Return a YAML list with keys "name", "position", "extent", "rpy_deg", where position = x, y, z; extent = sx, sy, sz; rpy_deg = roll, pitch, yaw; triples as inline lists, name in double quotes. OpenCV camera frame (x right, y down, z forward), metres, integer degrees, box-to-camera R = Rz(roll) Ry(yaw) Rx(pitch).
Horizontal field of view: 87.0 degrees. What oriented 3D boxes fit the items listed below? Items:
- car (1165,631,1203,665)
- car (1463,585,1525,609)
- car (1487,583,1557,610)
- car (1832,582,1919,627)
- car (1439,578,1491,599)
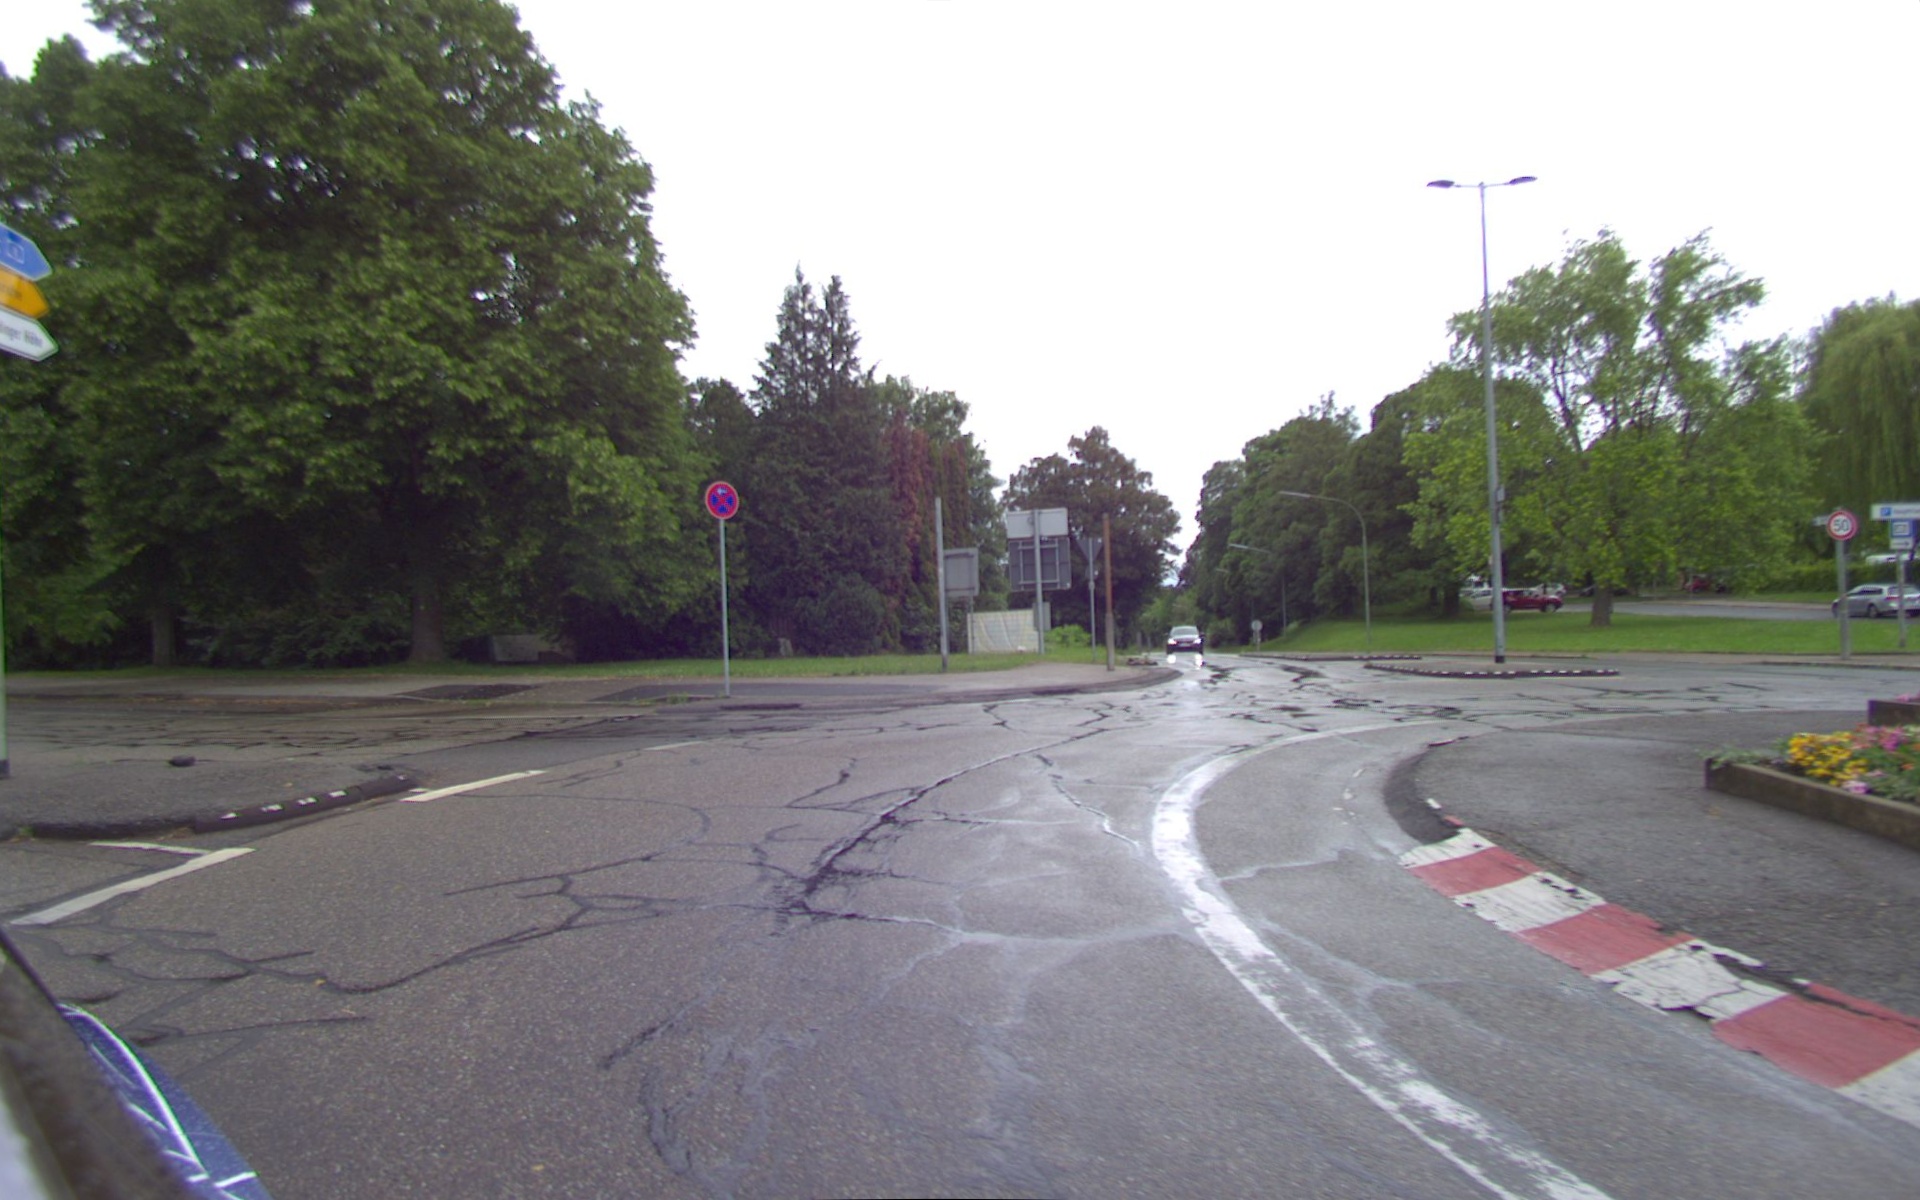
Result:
- name: "car"
  position: [11.278, 2.380, 51.177]
  extent: [1.696, 1.430, 3.987]
  rpy_deg: [-1, 1, 11]
- name: "car"
  position: [37.697, -0.235, 71.516]
  extent: [3.607, 1.606, 1.795]
  rpy_deg: [-1, 2, 19]
- name: "car"
  position: [35.650, -0.253, 64.285]
  extent: [3.607, 1.606, 1.795]
  rpy_deg: [-1, 2, 19]
- name: "car"
  position: [40.385, 0.158, 43.959]
  extent: [1.979, 1.754, 4.129]
  rpy_deg: [-1, 2, 12]
- name: "car"
  position: [41.975, -0.934, 84.120]
  extent: [3.607, 1.606, 1.795]
  rpy_deg: [-1, 2, 19]
